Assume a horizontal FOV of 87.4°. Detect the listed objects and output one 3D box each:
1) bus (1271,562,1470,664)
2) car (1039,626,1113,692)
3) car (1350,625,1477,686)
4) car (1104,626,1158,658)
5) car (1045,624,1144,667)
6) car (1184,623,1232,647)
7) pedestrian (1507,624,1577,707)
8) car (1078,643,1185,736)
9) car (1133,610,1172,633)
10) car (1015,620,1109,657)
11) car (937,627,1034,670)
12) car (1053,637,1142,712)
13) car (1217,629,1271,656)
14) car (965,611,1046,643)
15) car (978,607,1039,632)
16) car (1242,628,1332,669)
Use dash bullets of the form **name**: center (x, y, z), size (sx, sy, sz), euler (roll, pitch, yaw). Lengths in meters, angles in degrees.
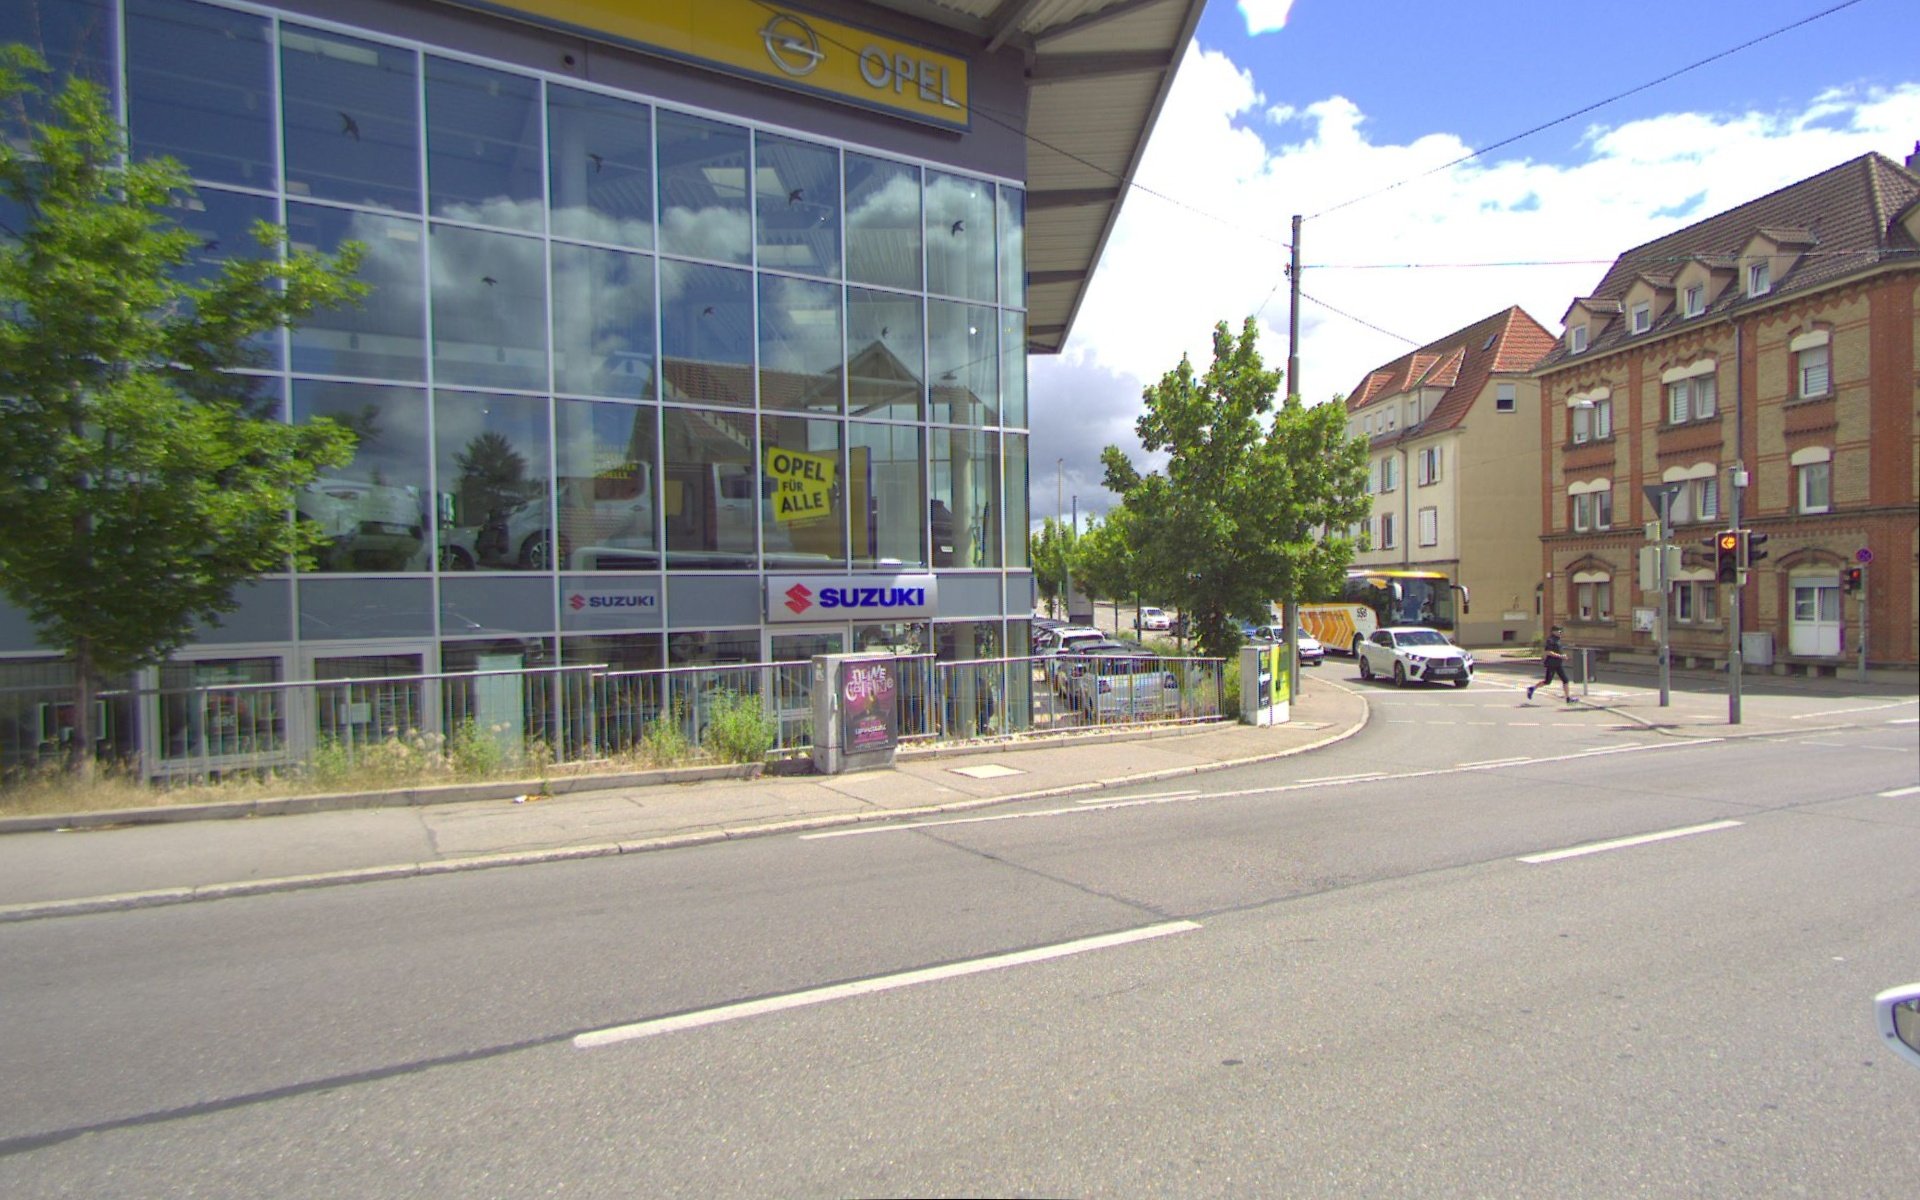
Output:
- **bus**: center (16.923, 0.557, 42.879), size (2.718, 3.670, 12.258), euler (1, -1, -4)
- **car**: center (3.306, 1.654, 29.122), size (1.620, 1.703, 3.499), euler (-1, 0, -2)
- **car**: center (12.748, 1.615, 28.573), size (1.797, 1.572, 4.309), euler (1, -4, 2)
- **car**: center (8.252, 2.017, 48.828), size (1.766, 1.467, 3.498), euler (1, -1, -5)
- **car**: center (4.948, 1.676, 37.330), size (3.430, 1.497, 1.800), euler (1, -1, 1)
- **car**: center (15.573, 2.189, 63.312), size (1.874, 1.428, 3.999), euler (1, -1, -2)
- **pedestrian**: center (12.781, 1.422, 22.071), size (0.751, 1.757, 1.133), euler (1, -1, -34)
- **car**: center (3.387, 1.733, 20.416), size (1.648, 1.582, 3.365), euler (-1, 0, 1)
- **car**: center (13.671, 1.539, 71.376), size (1.874, 1.574, 3.999), euler (1, -1, -2)
- **car**: center (4.551, 1.742, 45.257), size (3.925, 1.574, 1.806), euler (1, -1, -7)
- **car**: center (0.902, 1.765, 36.924), size (3.432, 1.467, 1.799), euler (-1, 0, -3)
- **car**: center (3.286, 1.764, 24.612), size (1.584, 1.547, 3.499), euler (-1, 0, -2)
- **car**: center (15.731, 2.333, 55.791), size (1.717, 1.428, 3.999), euler (1, -1, -3)
- **car**: center (2.359, 1.408, 52.789), size (3.930, 1.574, 1.804), euler (1, -1, -12)
- **car**: center (3.244, 1.310, 67.406), size (3.922, 1.574, 1.807), euler (1, -1, -1)
- **car**: center (12.244, 1.785, 37.852), size (1.849, 1.437, 3.617), euler (1, -1, -7)
